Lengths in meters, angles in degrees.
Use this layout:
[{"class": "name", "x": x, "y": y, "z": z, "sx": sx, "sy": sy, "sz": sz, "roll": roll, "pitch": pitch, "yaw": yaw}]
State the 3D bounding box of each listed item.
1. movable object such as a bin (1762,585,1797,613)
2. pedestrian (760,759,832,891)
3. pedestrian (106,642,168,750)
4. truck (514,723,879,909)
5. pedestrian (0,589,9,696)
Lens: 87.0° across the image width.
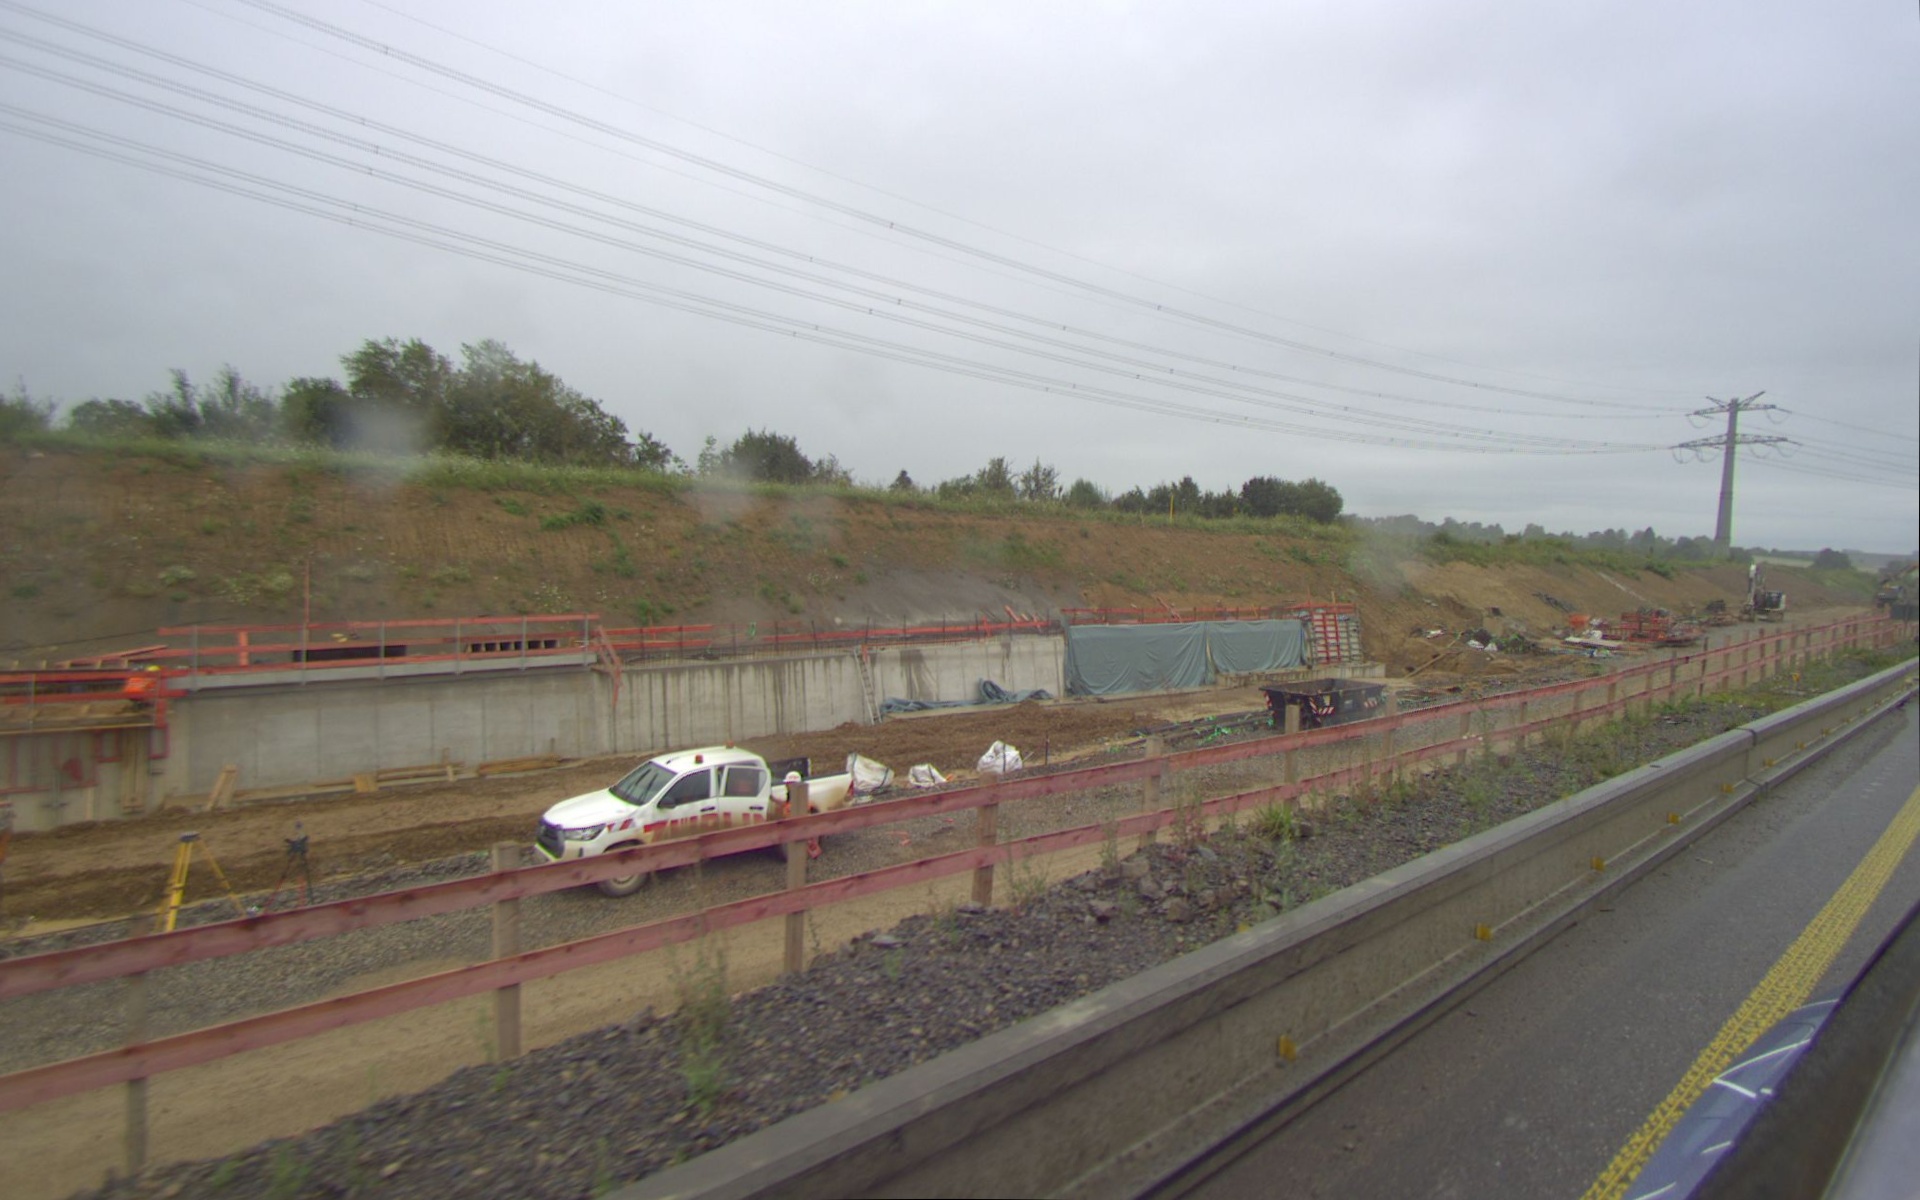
[{"class": "movable object such as a bin", "x": 83.909, "y": -0.101, "z": 103.596, "sx": 3.933, "sy": 2.753, "sz": 2.248, "roll": -1, "pitch": 1, "yaw": -43}, {"class": "pedestrian", "x": -2.557, "y": 3.499, "z": 15.833, "sx": 0.920, "sy": 1.821, "sz": 0.809, "roll": 1, "pitch": 2, "yaw": 7}, {"class": "pedestrian", "x": -18.142, "y": 2.104, "z": 22.334, "sx": 0.987, "sy": 2.260, "sz": 0.917, "roll": -1, "pitch": -3, "yaw": -37}, {"class": "truck", "x": -4.198, "y": 3.376, "z": 16.873, "sx": 5.683, "sy": 1.894, "sz": 1.766, "roll": -1, "pitch": 3, "yaw": -40}, {"class": "pedestrian", "x": -21.129, "y": 0.949, "z": 21.740, "sx": 0.989, "sy": 2.275, "sz": 0.916, "roll": -1, "pitch": -4, "yaw": -43}]
